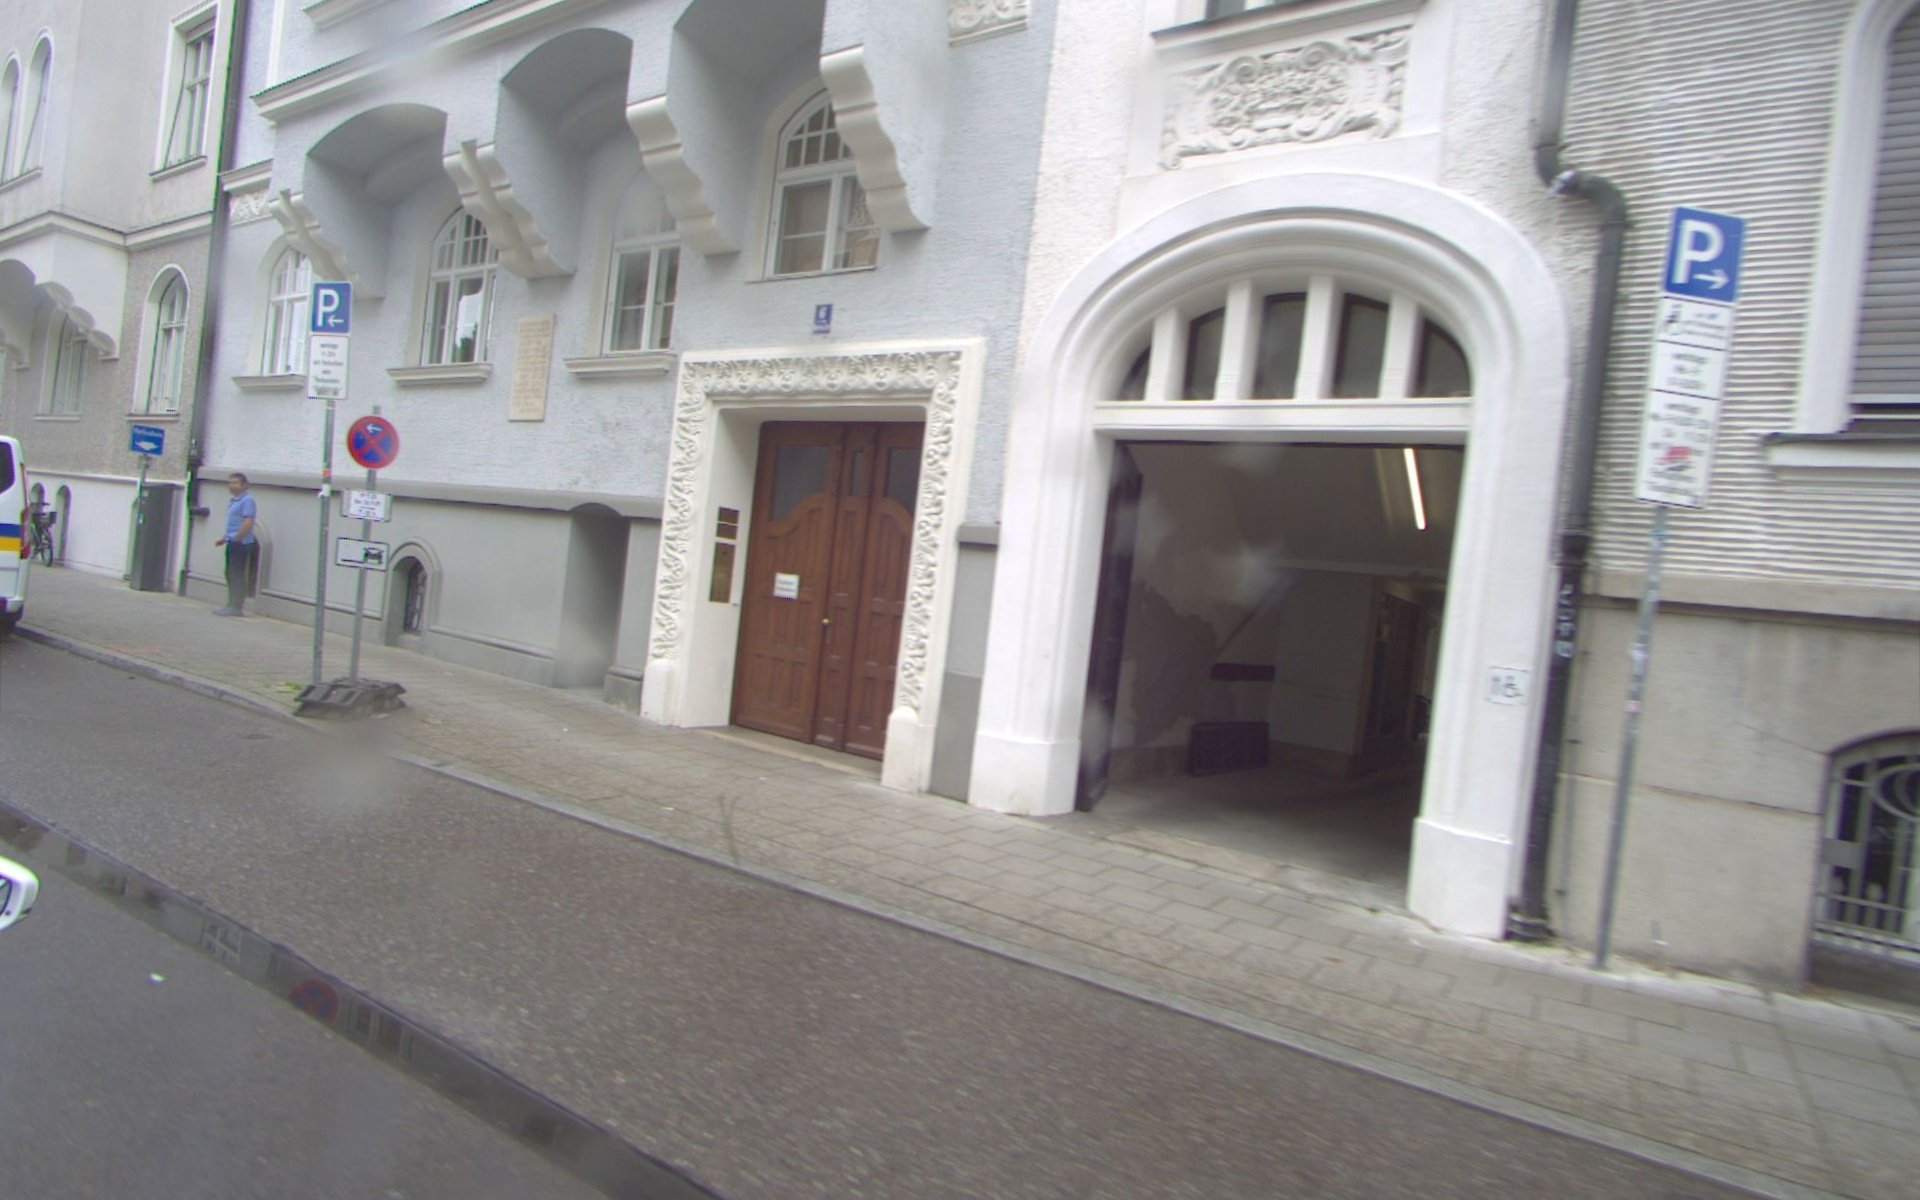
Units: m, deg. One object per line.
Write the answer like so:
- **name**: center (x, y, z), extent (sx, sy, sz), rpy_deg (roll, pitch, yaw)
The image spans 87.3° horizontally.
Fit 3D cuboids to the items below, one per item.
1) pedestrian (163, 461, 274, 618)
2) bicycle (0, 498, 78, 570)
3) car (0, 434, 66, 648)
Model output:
- **pedestrian**: center (-9.769, -0.785, 13.264), extent (0.734, 1.927, 0.852), rpy_deg (7, 1, 35)
- **bicycle**: center (-16.940, -1.217, 18.437), extent (1.694, 1.147, 0.666), rpy_deg (7, 1, 33)
- **car**: center (-11.126, -0.809, 9.921), extent (4.796, 1.942, 1.996), rpy_deg (7, 0, 31)
